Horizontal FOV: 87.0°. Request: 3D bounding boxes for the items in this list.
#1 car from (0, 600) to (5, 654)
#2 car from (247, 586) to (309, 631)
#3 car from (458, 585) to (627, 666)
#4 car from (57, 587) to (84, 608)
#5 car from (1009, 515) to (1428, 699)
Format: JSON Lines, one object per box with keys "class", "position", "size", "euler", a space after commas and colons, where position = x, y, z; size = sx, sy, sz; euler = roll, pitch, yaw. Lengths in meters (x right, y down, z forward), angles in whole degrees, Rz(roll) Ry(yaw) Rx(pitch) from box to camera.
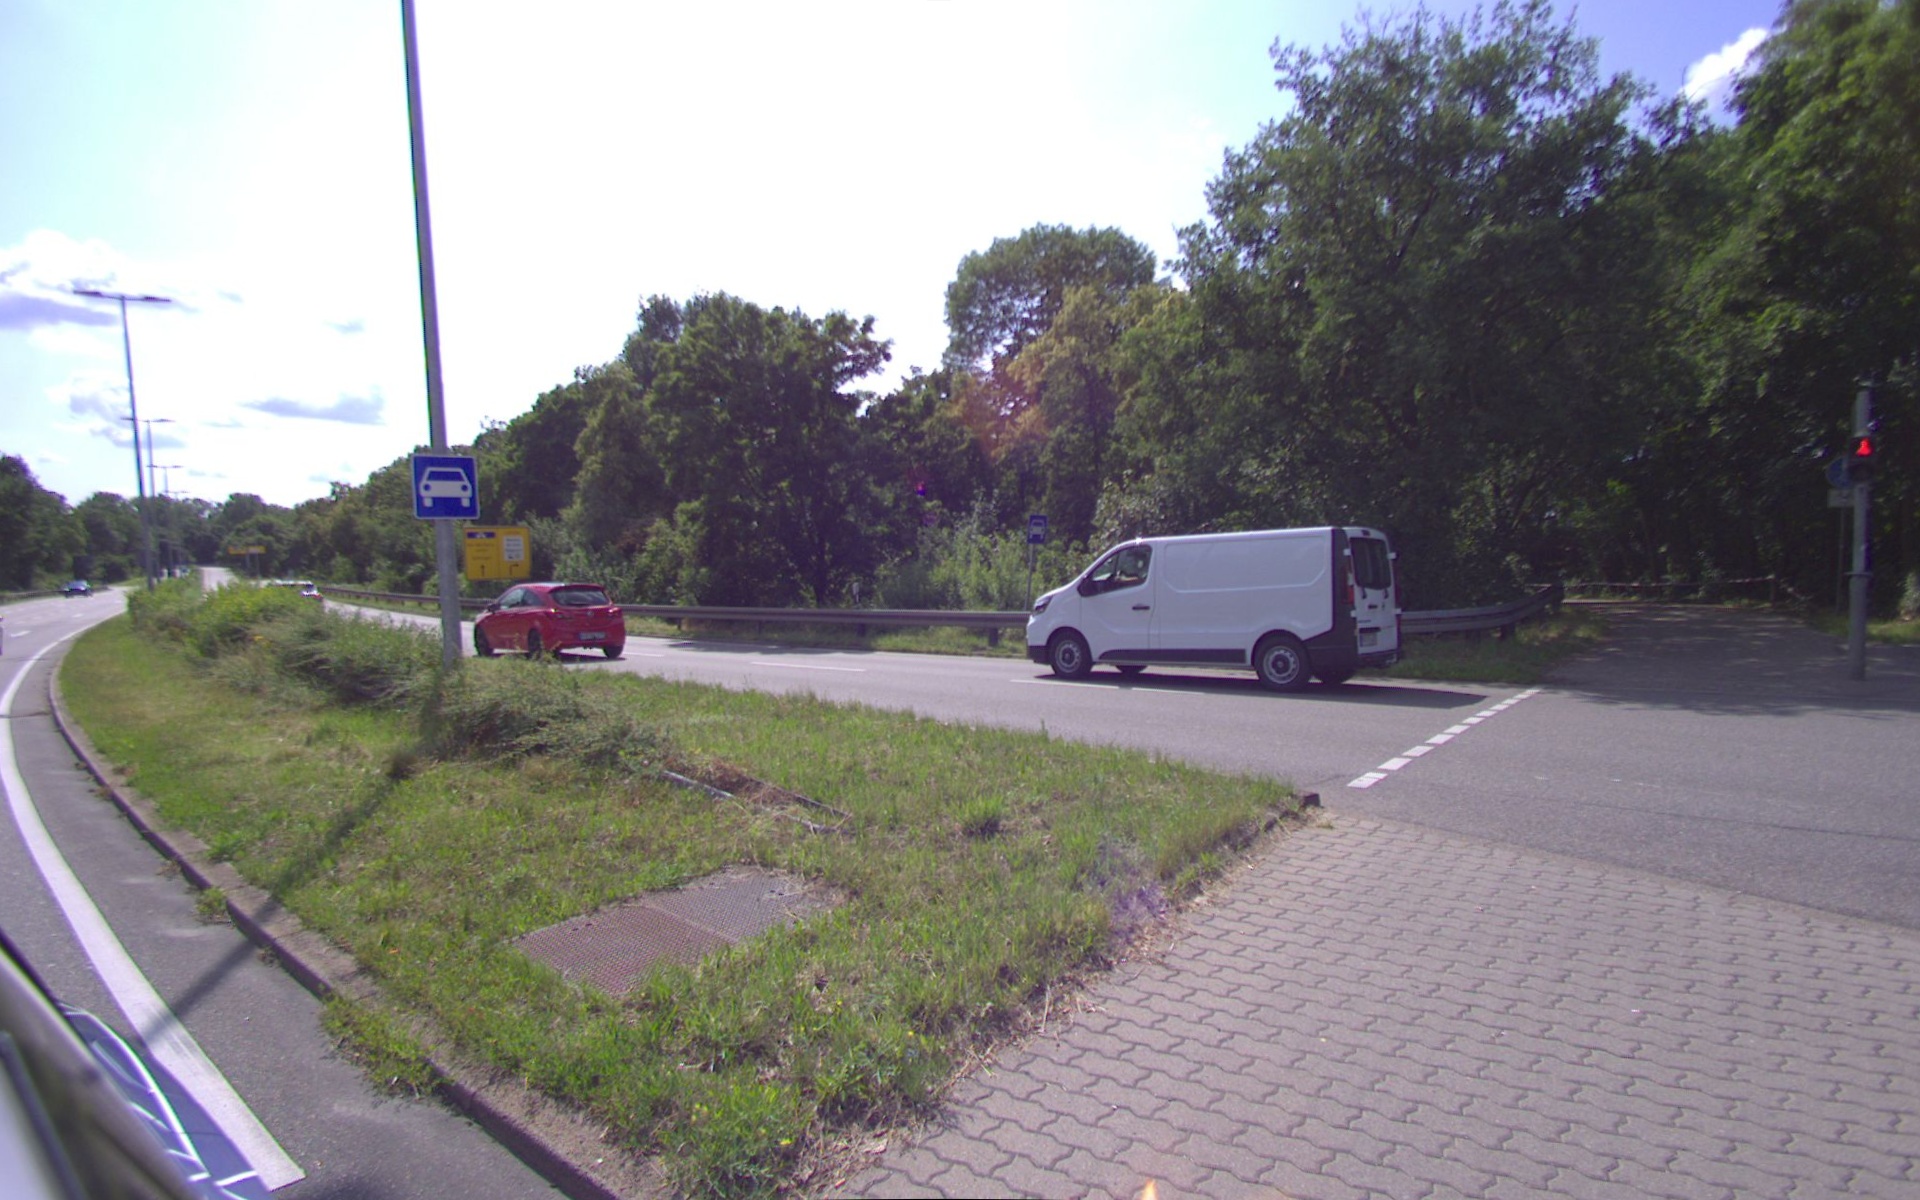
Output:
{"class": "car", "position": [-25.303, 0.733, 25.158], "size": [1.830, 1.421, 4.008], "euler": [-3, 1, -38]}
{"class": "car", "position": [-25.495, 0.307, 37.764], "size": [1.688, 1.598, 4.291], "euler": [0, 0, -37]}
{"class": "car", "position": [-8.335, 0.470, 20.048], "size": [4.000, 1.443, 1.564], "euler": [-1, 0, 43]}
{"class": "car", "position": [-89.671, -0.268, 102.076], "size": [1.947, 2.029, 4.006], "euler": [-2, 2, -41]}
{"class": "car", "position": [3.282, 0.095, 13.597], "size": [5.133, 2.029, 1.973], "euler": [-1, 0, 41]}
